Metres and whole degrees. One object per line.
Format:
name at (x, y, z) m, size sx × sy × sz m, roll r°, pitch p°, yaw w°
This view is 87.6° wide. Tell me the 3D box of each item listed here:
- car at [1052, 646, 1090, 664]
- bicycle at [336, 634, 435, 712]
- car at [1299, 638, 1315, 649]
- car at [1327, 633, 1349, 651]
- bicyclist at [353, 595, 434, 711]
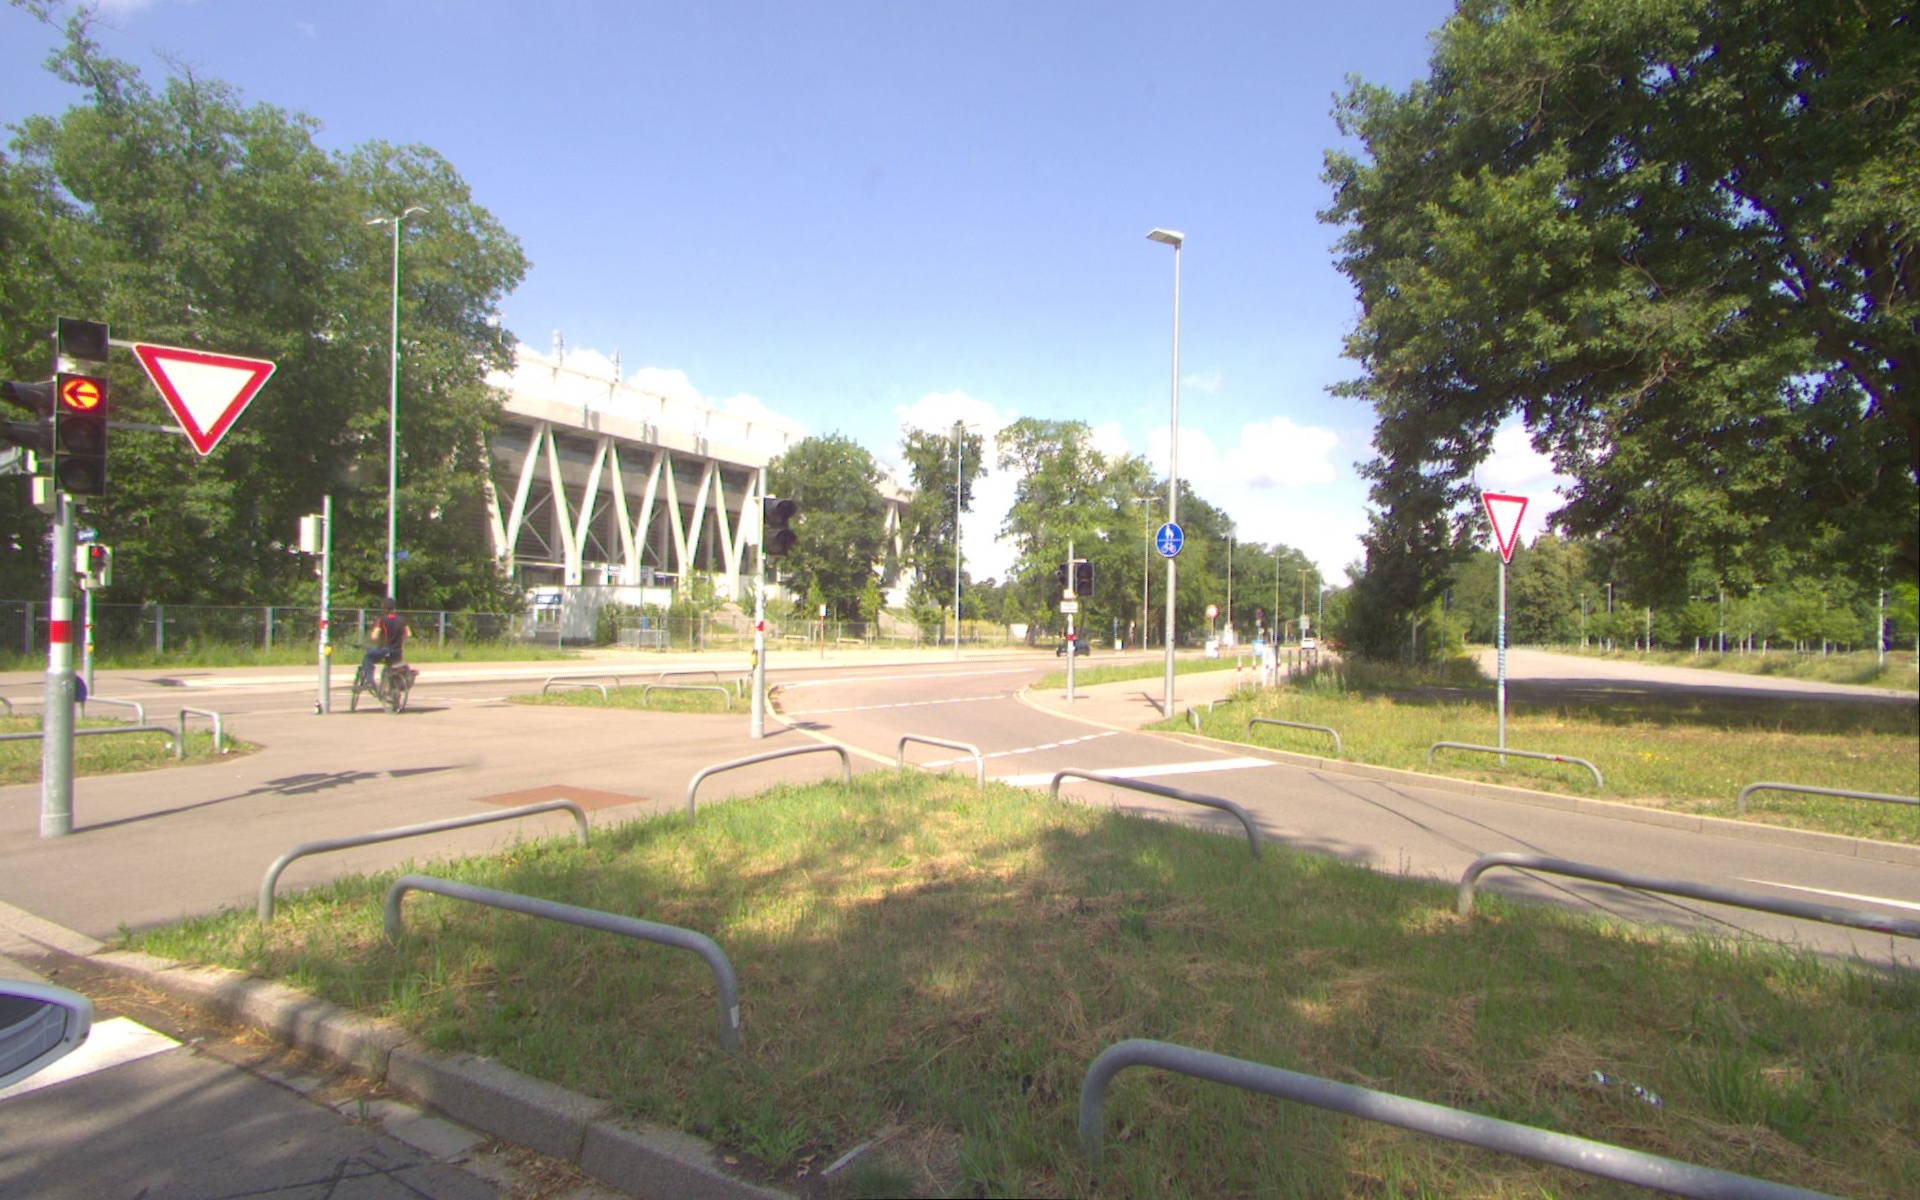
car at (8.977, 4.414, 80.766) m, size 1.580 × 1.395 × 3.956 m, roll -1°, pitch -2°, yaw 32°
bicycle at (-9.527, 1.173, 16.587) m, size 1.876 × 1.221 × 0.876 m, roll -2°, pitch -2°, yaw 42°
car at (48.479, 6.105, 139.854) m, size 1.334 × 1.544 × 3.460 m, roll -1°, pitch -2°, yaw 31°
car at (50.916, 5.624, 134.896) m, size 2.031 × 2.440 × 3.982 m, roll -1°, pitch -2°, yaw 31°
bicyclist at (-9.271, 0.854, 16.394) m, size 0.967 × 1.820 × 0.881 m, roll -1°, pitch -2°, yaw 40°
